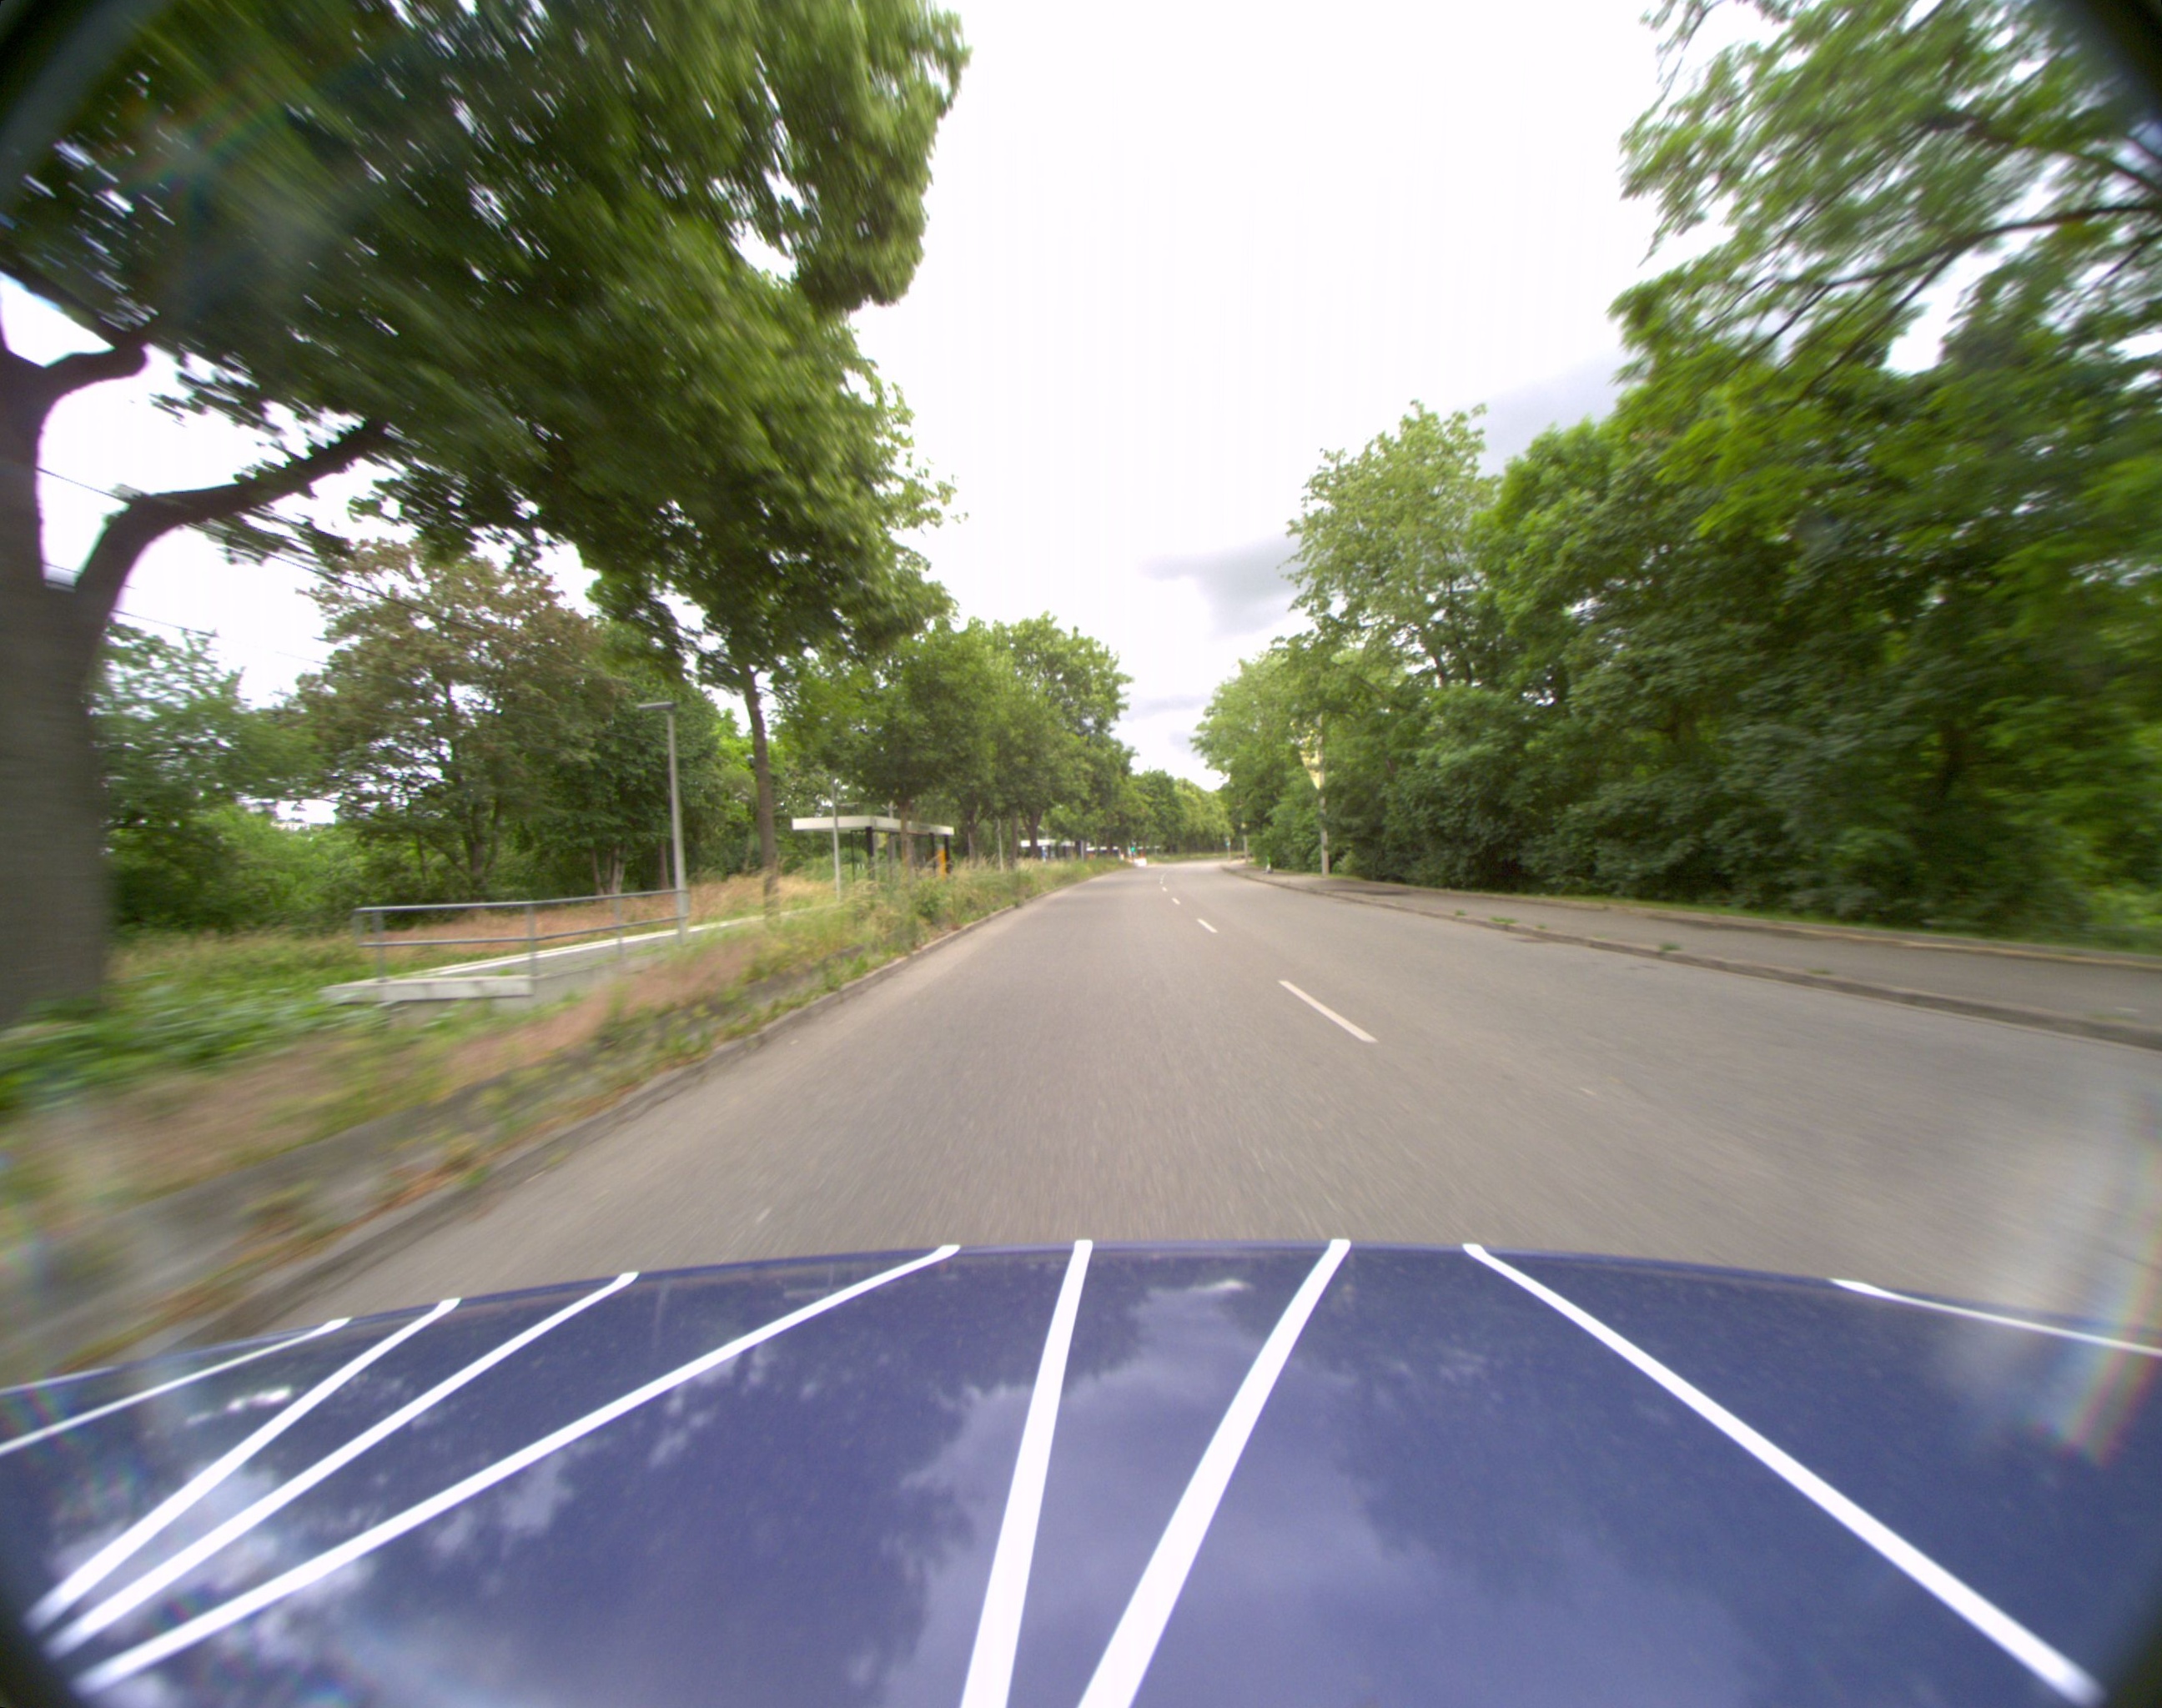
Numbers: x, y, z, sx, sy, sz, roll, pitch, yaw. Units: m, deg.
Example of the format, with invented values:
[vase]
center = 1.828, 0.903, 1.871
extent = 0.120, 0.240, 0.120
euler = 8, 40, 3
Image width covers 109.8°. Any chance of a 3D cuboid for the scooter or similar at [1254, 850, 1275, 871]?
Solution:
[scooter or similar]
center = 11.152, 0.406, 46.167
extent = 0.366, 1.177, 1.295
euler = -4, 0, -32
